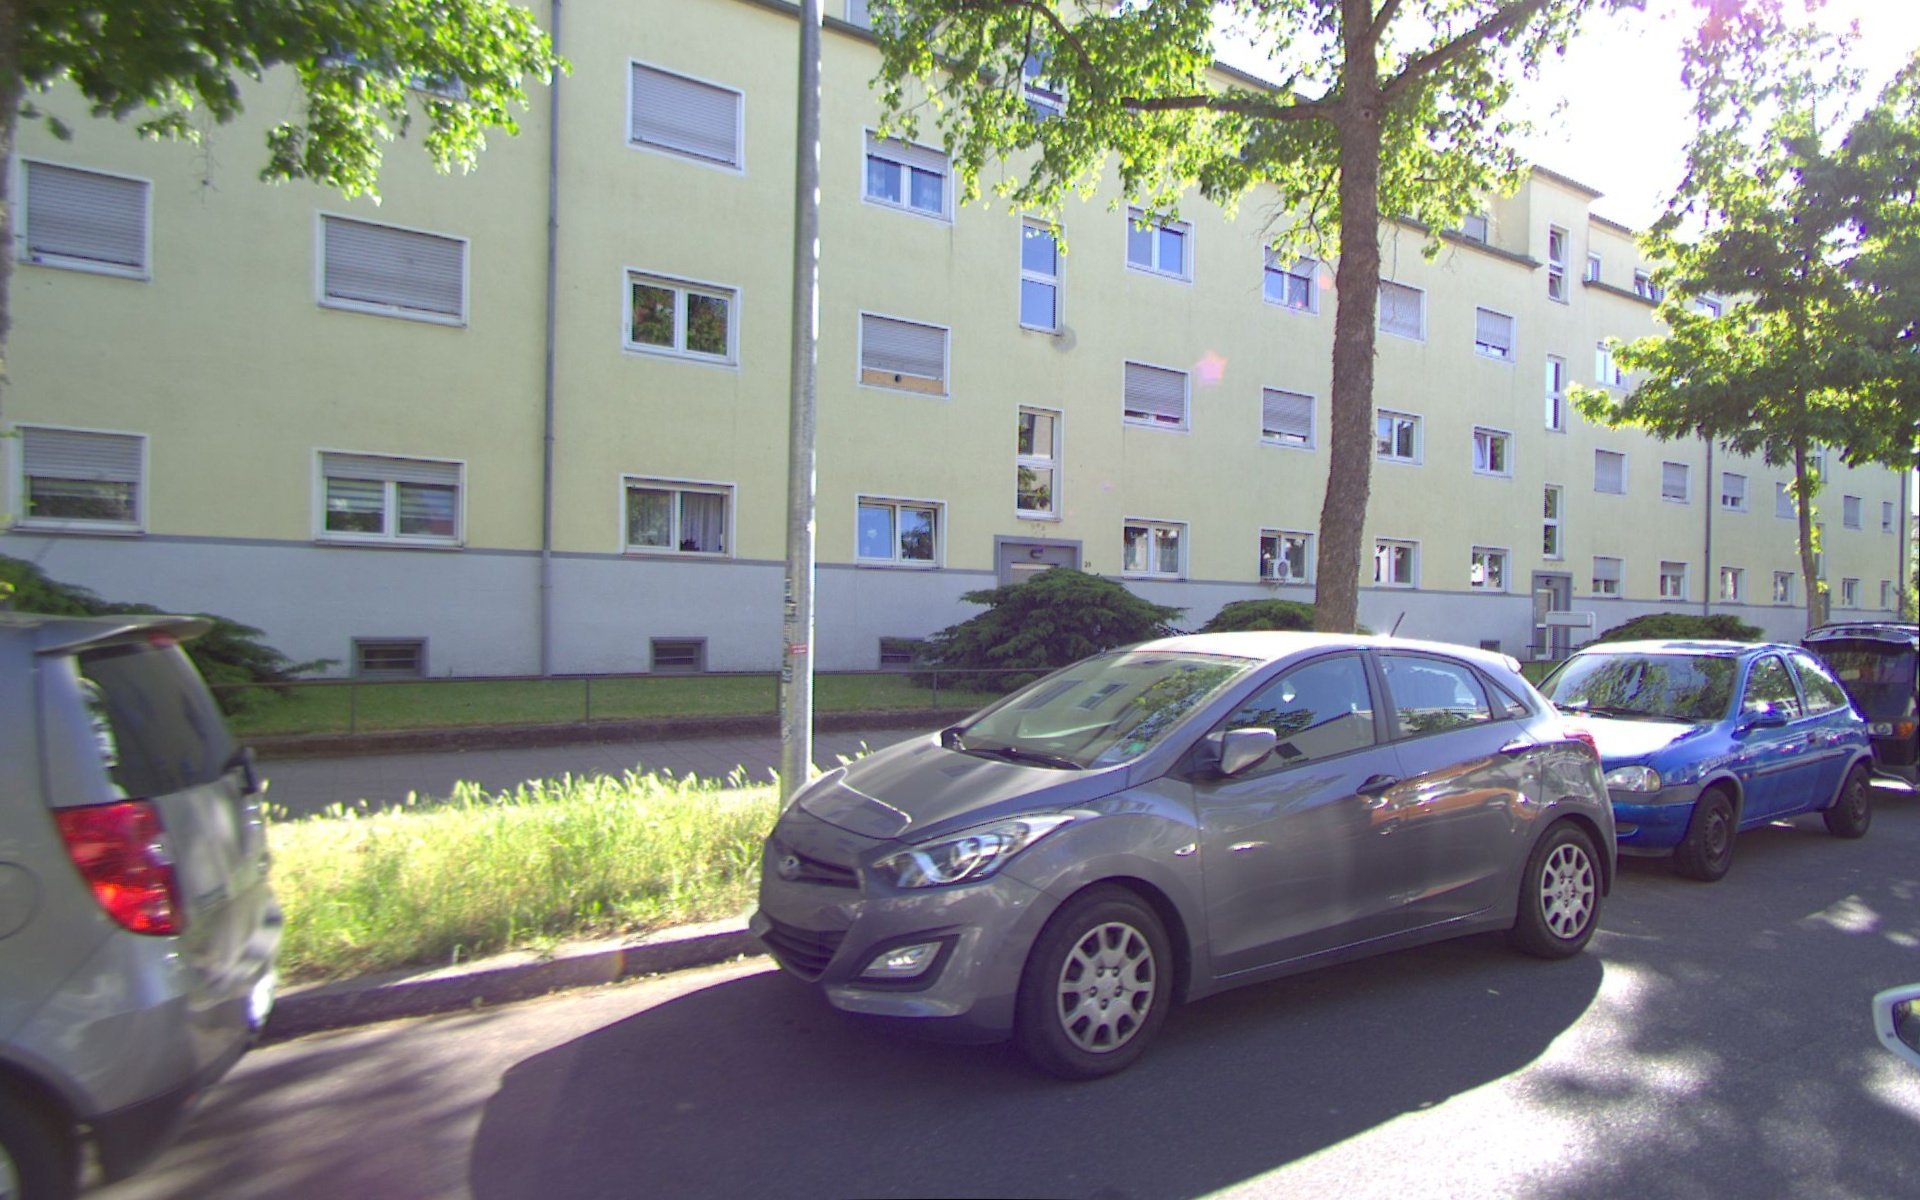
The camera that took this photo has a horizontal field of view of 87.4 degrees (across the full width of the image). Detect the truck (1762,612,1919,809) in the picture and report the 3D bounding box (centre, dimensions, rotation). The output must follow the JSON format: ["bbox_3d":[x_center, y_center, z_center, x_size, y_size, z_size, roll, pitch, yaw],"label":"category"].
[{"bbox_3d":[8.598,0.930,9.228,2.401,1.598,1.079,1,-1,-28],"label":"truck"}]

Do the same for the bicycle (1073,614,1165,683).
[{"bbox_3d":[2.893,0.866,18.425,0.482,1.095,1.828,5,0,-33],"label":"bicycle"}]

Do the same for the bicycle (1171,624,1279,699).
[{"bbox_3d":[4.222,0.957,16.151,0.481,1.095,1.829,1,-1,-33],"label":"bicycle"}]

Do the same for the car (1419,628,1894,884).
[{"bbox_3d":[5.130,0.933,7.279,3.685,1.414,1.512,1,-1,-32],"label":"car"}]

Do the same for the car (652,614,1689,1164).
[{"bbox_3d":[1.141,0.839,4.609,4.631,1.463,1.784,1,-2,-29],"label":"car"}]

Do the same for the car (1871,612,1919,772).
[{"bbox_3d":[12.581,0.999,11.478,4.919,1.702,1.840,1,-3,-31],"label":"car"}]

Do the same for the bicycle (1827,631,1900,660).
[{"bbox_3d":[33.095,1.662,36.807,0.591,1.005,1.908,1,-1,-37],"label":"bicycle"}]

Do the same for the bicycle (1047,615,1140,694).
[{"bbox_3d":[2.103,0.847,16.101,0.480,1.095,1.832,2,1,-27],"label":"bicycle"}]

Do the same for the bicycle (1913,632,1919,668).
[{"bbox_3d":[28.028,1.431,28.746,1.905,1.005,0.592,1,-1,-31],"label":"bicycle"}]

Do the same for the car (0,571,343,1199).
[{"bbox_3d":[-3.713,0.710,1.924,4.218,1.535,1.613,1,-3,-30],"label":"car"}]

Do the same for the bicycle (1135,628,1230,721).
[{"bbox_3d":[2.927,0.925,13.066,0.478,1.095,1.839,4,1,35],"label":"bicycle"}]
